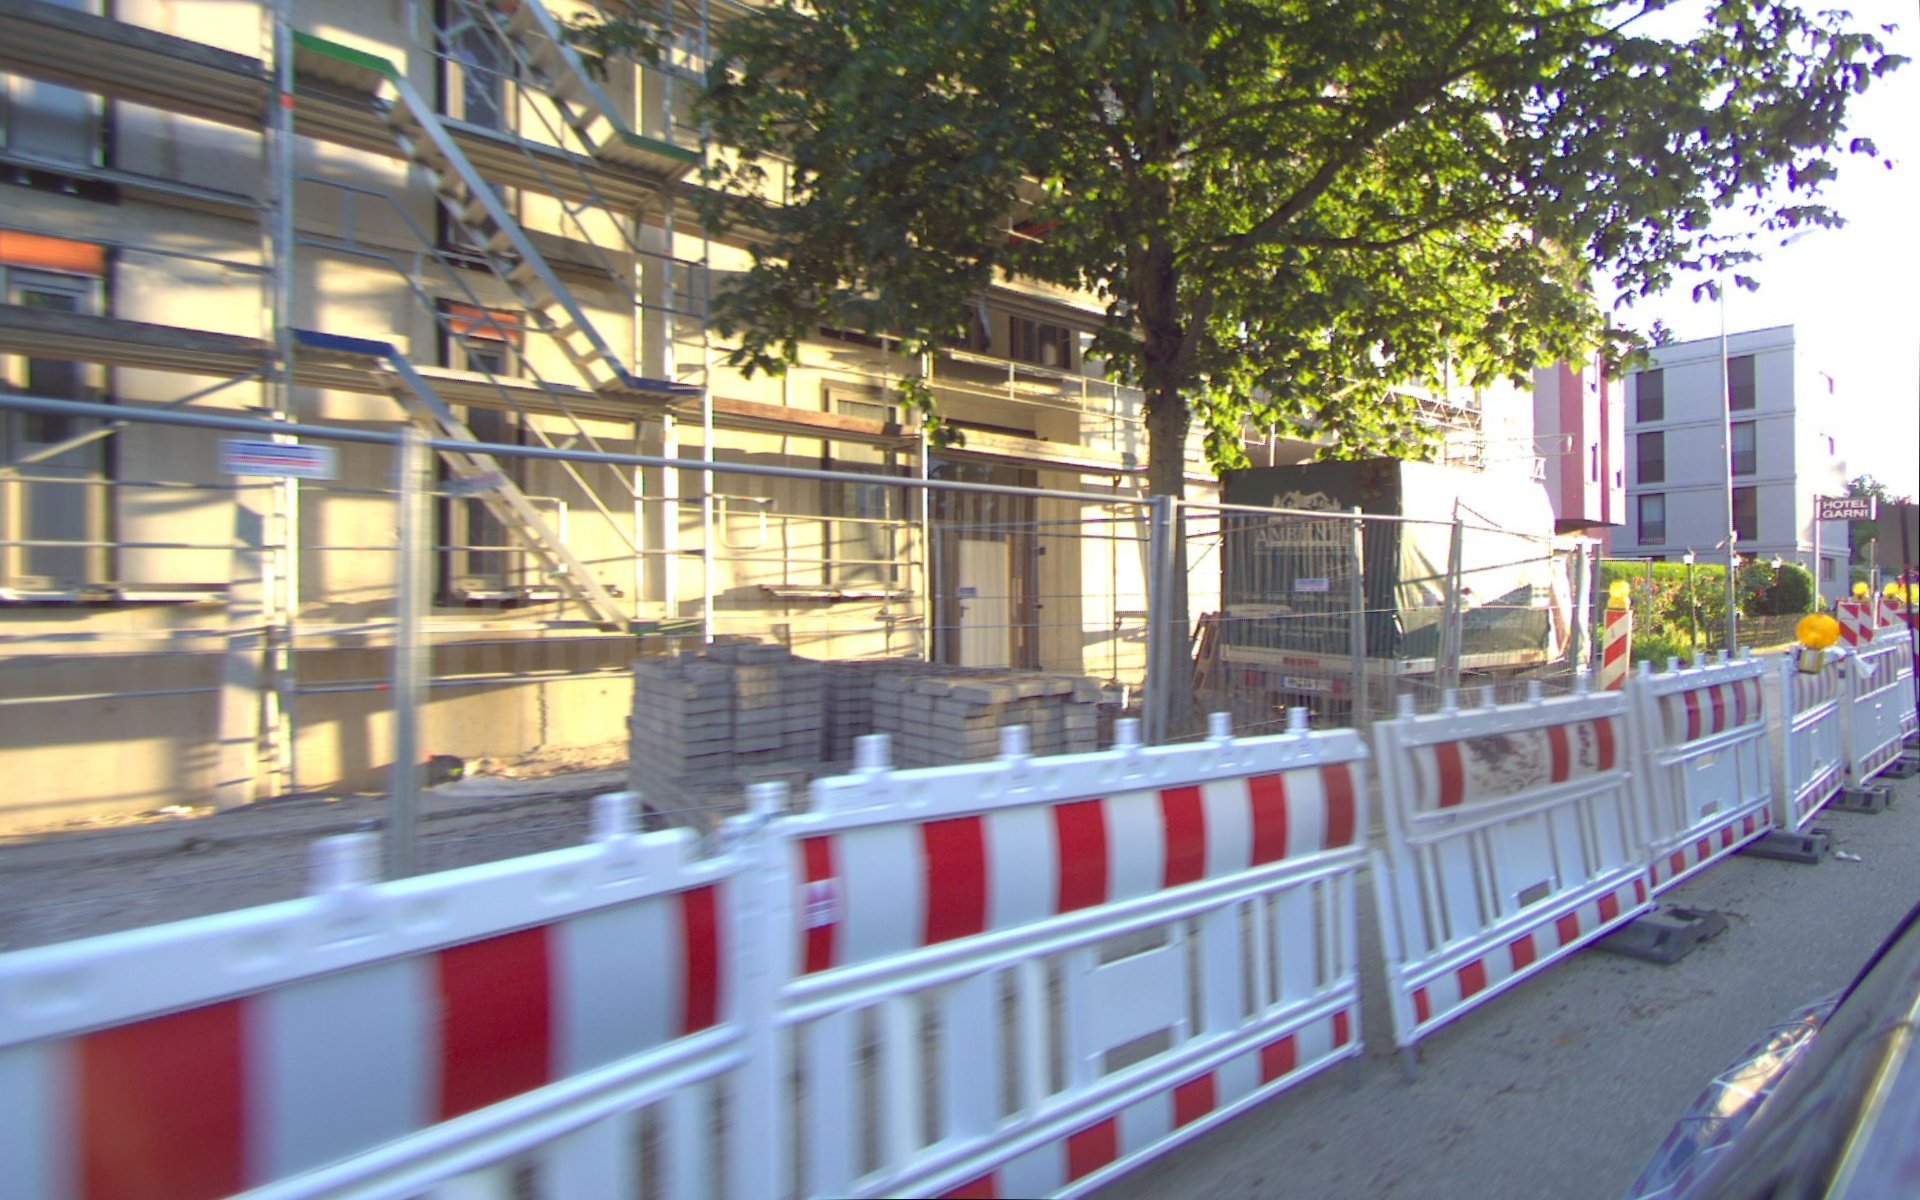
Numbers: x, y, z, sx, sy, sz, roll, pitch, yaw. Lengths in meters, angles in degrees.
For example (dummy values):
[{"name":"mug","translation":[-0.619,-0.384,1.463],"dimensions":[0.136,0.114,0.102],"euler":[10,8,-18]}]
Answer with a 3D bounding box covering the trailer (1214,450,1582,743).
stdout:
[{"name":"trailer","translation":[4.843,-0.037,10.969],"dimensions":[4.110,2.572,1.998],"euler":[0,0,-39]}]
